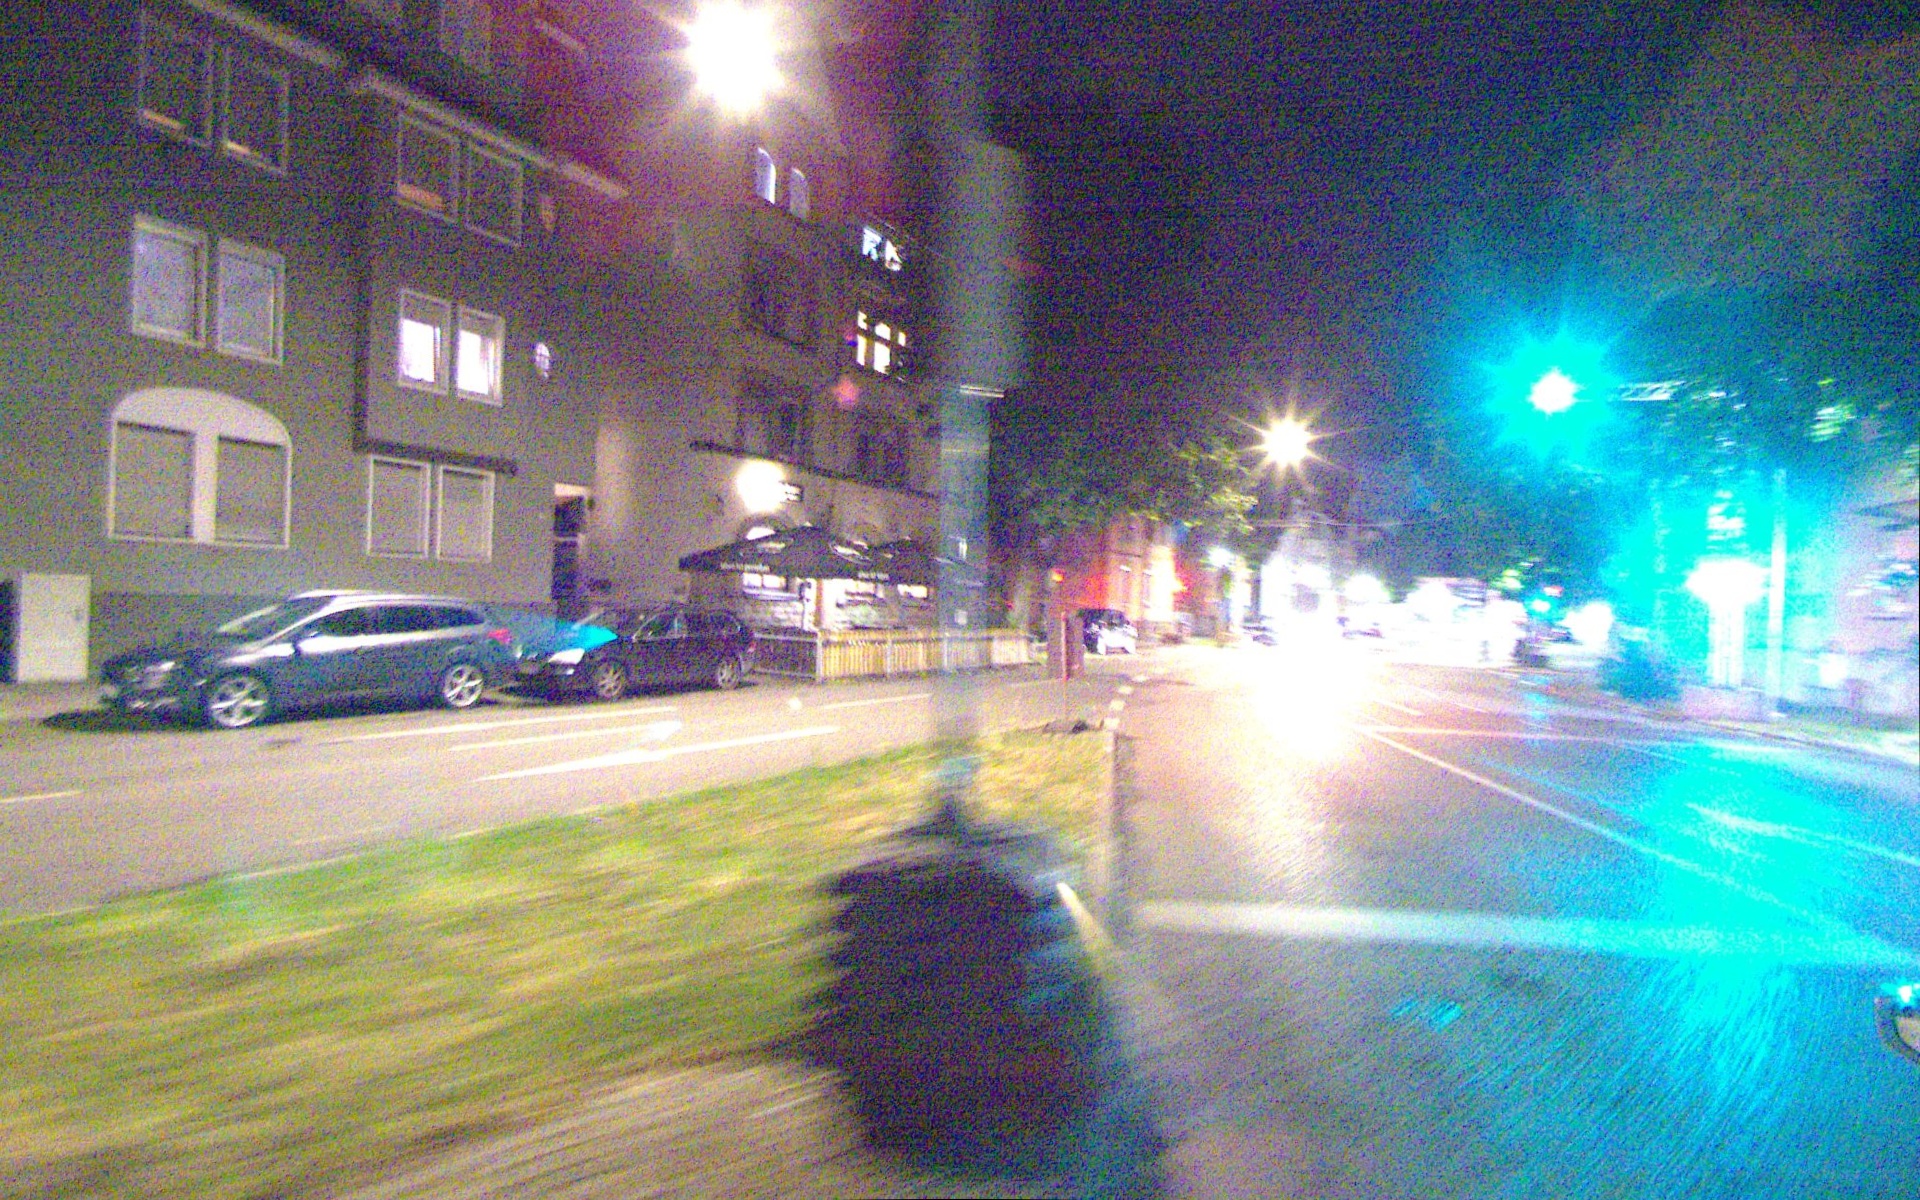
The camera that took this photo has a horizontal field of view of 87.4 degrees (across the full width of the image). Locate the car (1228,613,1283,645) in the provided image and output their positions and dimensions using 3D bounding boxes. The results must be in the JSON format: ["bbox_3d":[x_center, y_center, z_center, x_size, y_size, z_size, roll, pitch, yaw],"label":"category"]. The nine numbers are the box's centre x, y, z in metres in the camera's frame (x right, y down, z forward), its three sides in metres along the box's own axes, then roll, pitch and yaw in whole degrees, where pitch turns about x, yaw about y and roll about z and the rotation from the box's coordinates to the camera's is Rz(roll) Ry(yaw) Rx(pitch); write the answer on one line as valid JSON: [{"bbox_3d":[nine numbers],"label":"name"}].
[{"bbox_3d":[15.707,1.540,53.330,1.571,1.511,3.687,6,2,36],"label":"car"}]

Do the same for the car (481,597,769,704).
[{"bbox_3d":[-5.451,0.774,16.958,1.834,1.452,4.434,4,1,31],"label":"car"}]

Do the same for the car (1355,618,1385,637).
[{"bbox_3d":[34.020,2.278,83.272,1.758,1.434,4.119,4,1,30],"label":"car"}]

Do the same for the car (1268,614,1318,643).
[{"bbox_3d":[20.076,1.679,60.427,1.760,1.511,4.318,5,2,33],"label":"car"}]

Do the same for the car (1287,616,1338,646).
[{"bbox_3d":[18.151,1.580,51.656,1.691,1.448,3.991,1,-1,32],"label":"car"}]

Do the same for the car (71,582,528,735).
[{"bbox_3d":[-8.034,0.643,12.709,1.834,1.499,4.463,3,0,31],"label":"car"}]

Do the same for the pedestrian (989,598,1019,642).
[{"bbox_3d":[1.769,0.799,40.411,0.701,1.713,0.992,2,0,42],"label":"pedestrian"}]

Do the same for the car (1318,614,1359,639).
[{"bbox_3d":[27.366,1.871,72.540,1.759,1.603,4.400,5,2,32],"label":"car"}]

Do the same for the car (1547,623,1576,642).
[{"bbox_3d":[50.130,2.688,83.829,1.707,1.479,4.721,3,0,27],"label":"car"}]

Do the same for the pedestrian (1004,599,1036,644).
[{"bbox_3d":[2.364,0.838,39.613,0.701,1.713,1.118,2,0,41],"label":"pedestrian"}]

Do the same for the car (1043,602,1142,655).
[{"bbox_3d":[4.741,0.992,35.512,1.859,1.617,4.014,4,1,33],"label":"car"}]
